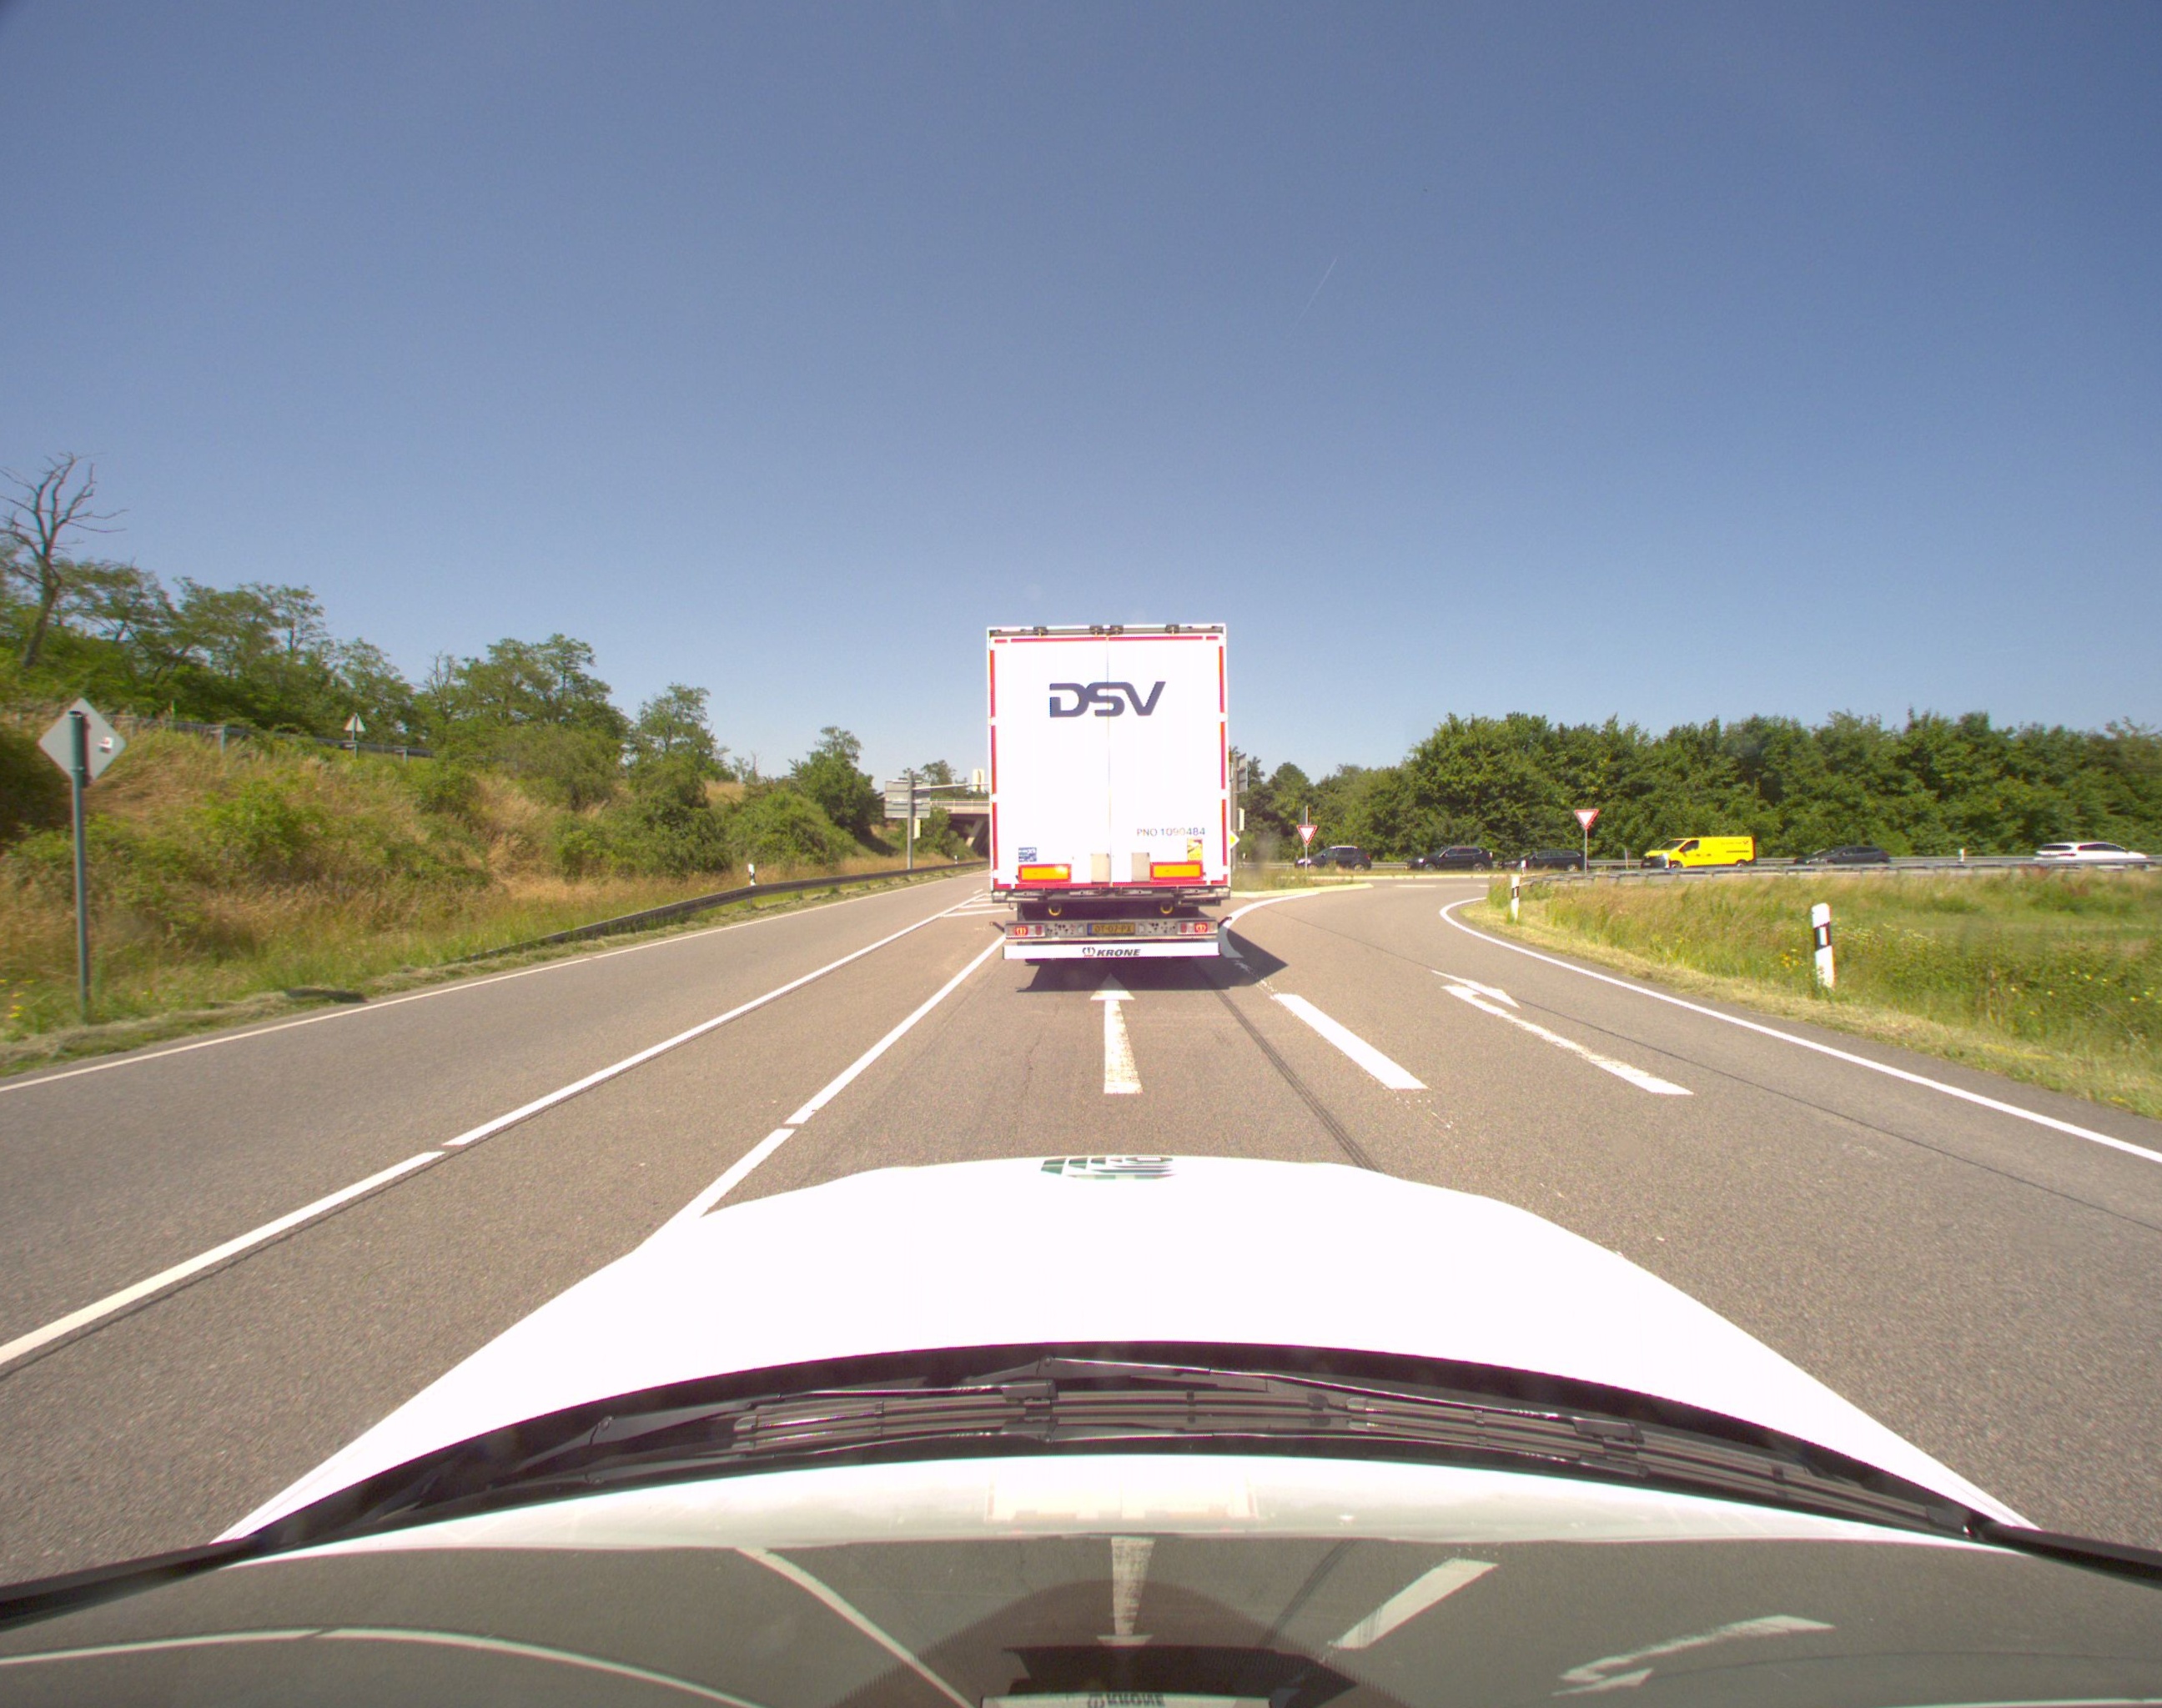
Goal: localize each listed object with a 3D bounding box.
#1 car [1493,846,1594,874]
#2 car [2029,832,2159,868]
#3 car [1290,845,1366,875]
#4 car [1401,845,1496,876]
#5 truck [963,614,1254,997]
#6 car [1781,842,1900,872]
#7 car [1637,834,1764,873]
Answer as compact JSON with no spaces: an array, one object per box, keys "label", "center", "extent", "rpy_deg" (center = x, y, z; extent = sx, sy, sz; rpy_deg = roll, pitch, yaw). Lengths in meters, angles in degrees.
[{"label":"car","center":[26.337,0.348,46.506],"extent":[4.655,1.514,1.858],"rpy_deg":[-1,-1,8]},{"label":"car","center":[49.392,-0.209,39.759],"extent":[4.459,1.567,1.737],"rpy_deg":[-2,0,-4]},{"label":"car","center":[14.321,0.367,47.455],"extent":[3.964,1.640,1.845],"rpy_deg":[-1,-1,7]},{"label":"car","center":[20.372,0.357,45.263],"extent":[4.466,1.598,1.770],"rpy_deg":[-1,-1,4]},{"label":"truck","center":[0.405,-0.497,13.396],"extent":[2.977,3.942,9.878],"rpy_deg":[-1,0,1]},{"label":"car","center":[41.327,0.178,44.394],"extent":[4.662,1.514,1.855],"rpy_deg":[-1,-1,3]},{"label":"car","center":[33.780,-0.028,44.518],"extent":[5.300,2.014,2.001],"rpy_deg":[-1,-1,3]}]
